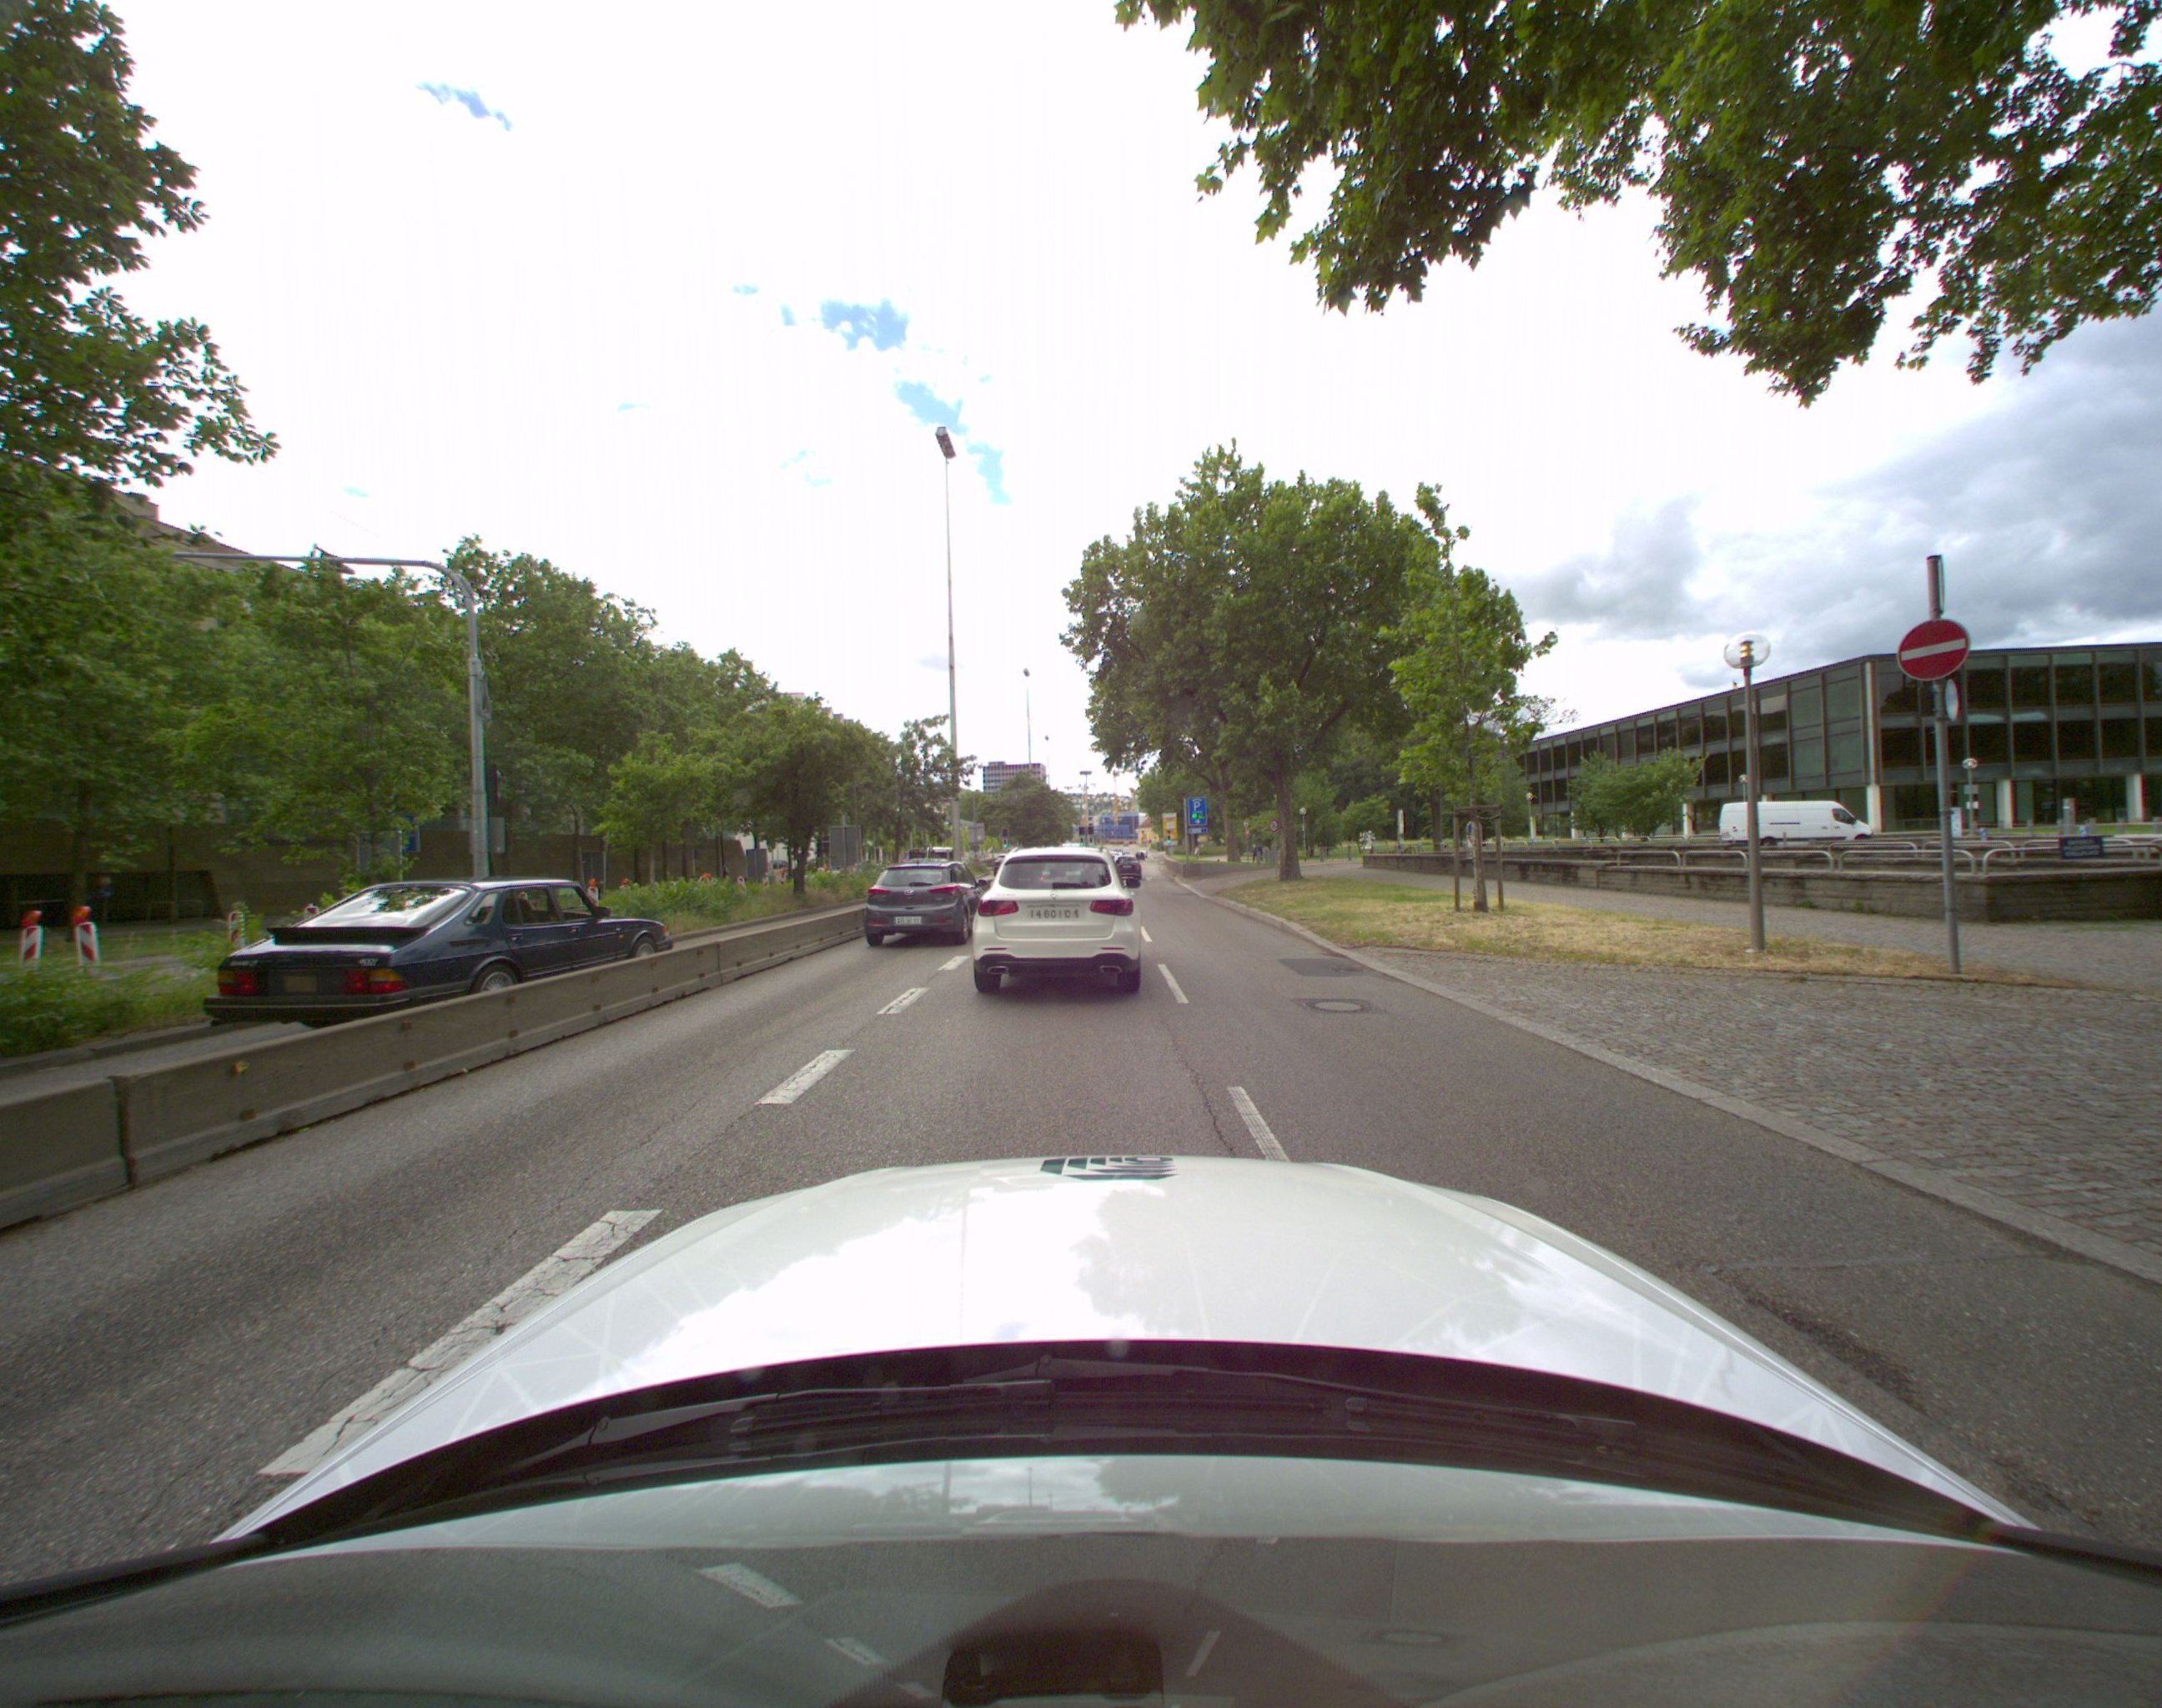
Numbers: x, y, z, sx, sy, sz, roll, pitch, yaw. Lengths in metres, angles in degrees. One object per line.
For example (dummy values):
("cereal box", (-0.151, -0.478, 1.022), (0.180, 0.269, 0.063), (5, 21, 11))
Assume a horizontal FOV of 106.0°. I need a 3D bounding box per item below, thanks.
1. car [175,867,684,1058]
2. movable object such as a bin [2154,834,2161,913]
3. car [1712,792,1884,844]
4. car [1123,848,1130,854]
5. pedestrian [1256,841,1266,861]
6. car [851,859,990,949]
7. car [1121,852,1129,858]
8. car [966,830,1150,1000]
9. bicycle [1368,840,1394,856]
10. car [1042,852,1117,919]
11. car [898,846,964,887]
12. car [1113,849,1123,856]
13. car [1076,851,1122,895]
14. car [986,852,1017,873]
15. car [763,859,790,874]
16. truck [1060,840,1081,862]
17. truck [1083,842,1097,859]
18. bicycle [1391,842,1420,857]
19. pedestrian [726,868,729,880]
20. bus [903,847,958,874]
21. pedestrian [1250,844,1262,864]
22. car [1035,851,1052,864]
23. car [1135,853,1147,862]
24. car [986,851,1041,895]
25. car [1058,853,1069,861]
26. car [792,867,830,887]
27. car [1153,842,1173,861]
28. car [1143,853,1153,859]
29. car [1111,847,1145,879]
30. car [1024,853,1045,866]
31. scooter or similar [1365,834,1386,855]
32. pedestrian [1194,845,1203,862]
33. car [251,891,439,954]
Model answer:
("car", (-6.237, 0.889, 8.683), (1.672, 1.367, 4.544), (-2, 0, 1))
("movable object such as a bin", (15.142, 0.260, 10.729), (1.004, 1.064, 0.770), (-2, 3, -1))
("car", (34.712, -1.701, 39.562), (6.082, 2.260, 2.403), (-2, 0, 3))
("car", (12.379, -0.768, 222.059), (1.752, 1.669, 4.170), (-2, 0, 2))
("pedestrian", (15.838, -0.227, 71.698), (0.754, 1.725, 0.701), (-2, 0, 9))
("car", (-2.876, 0.832, 15.447), (1.792, 1.437, 4.020), (-1, 0, 0))
("car", (10.332, 0.181, 190.529), (1.939, 1.319, 4.019), (-1, 0, 2))
("car", (-0.120, 0.627, 10.493), (1.781, 1.625, 4.441), (-4, 0, 3))
("bicycle", (20.696, -0.395, 56.206), (0.950, 1.063, 2.336), (0, -1, 1))
("car", (-0.127, 0.791, 21.930), (1.792, 1.608, 3.750), (-1, 0, -3))
("car", (-5.618, 0.451, 30.933), (1.655, 1.436, 3.961), (-1, -1, 1))
("car", (7.053, -0.331, 155.745), (1.939, 1.319, 4.019), (-1, 0, 2))
("car", (0.691, 0.726, 33.233), (1.654, 1.639, 3.545), (-2, 0, -1))
("car", (-5.691, 0.587, 58.870), (1.770, 1.420, 4.000), (-2, 0, 0))
("car", (-40.713, 1.651, 108.931), (1.986, 1.914, 4.001), (-2, 0, 1))
("truck", (-1.412, -0.447, 109.382), (2.612, 2.861, 7.079), (-1, 0, 1))
("truck", (1.682, -0.647, 153.514), (2.683, 2.992, 5.638), (0, -1, 1))
("bicycle", (22.263, -0.273, 55.907), (0.950, 0.975, 2.787), (0, -1, 1))
("pedestrian", (-32.431, 1.818, 74.675), (0.214, 1.078, 0.257), (0, -1, -16))
("bus", (-19.182, 0.753, 105.106), (3.652, 3.205, 14.284), (-2, 0, 3))
("pedestrian", (14.584, -0.010, 67.900), (0.662, 1.611, 0.637), (-2, 0, -17))
("car", (-4.403, 0.386, 96.279), (1.653, 1.513, 3.549), (-2, 0, 2))
("car", (10.049, 0.526, 136.345), (1.939, 1.428, 4.019), (-1, 0, 2))
("car", (-2.678, 0.730, 33.411), (1.846, 1.628, 4.905), (-1, -1, 0))
("car", (-2.899, 0.451, 135.756), (1.652, 1.319, 3.549), (-1, 0, 3))
("car", (-21.023, 1.793, 63.542), (1.654, 1.383, 3.804), (-2, 0, 1))
("car", (8.842, -0.226, 88.138), (1.985, 2.014, 4.003), (-1, 0, 2))
("car", (13.538, 0.431, 165.393), (1.939, 1.319, 4.019), (-1, 0, 2))
("car", (2.726, 0.496, 47.828), (1.819, 1.752, 4.001), (-2, 0, 1))
("car", (-4.847, 0.598, 85.601), (1.651, 1.319, 3.552), (-1, 0, 4))
("scooter or similar", (17.887, -0.561, 49.494), (0.633, 1.245, 2.227), (0, -1, 4))
("pedestrian", (13.785, -0.073, 95.739), (0.752, 2.013, 0.703), (-2, 0, 37))
("car", (-21.689, 1.960, 24.258), (1.842, 1.458, 4.001), (-2, 0, 1))
